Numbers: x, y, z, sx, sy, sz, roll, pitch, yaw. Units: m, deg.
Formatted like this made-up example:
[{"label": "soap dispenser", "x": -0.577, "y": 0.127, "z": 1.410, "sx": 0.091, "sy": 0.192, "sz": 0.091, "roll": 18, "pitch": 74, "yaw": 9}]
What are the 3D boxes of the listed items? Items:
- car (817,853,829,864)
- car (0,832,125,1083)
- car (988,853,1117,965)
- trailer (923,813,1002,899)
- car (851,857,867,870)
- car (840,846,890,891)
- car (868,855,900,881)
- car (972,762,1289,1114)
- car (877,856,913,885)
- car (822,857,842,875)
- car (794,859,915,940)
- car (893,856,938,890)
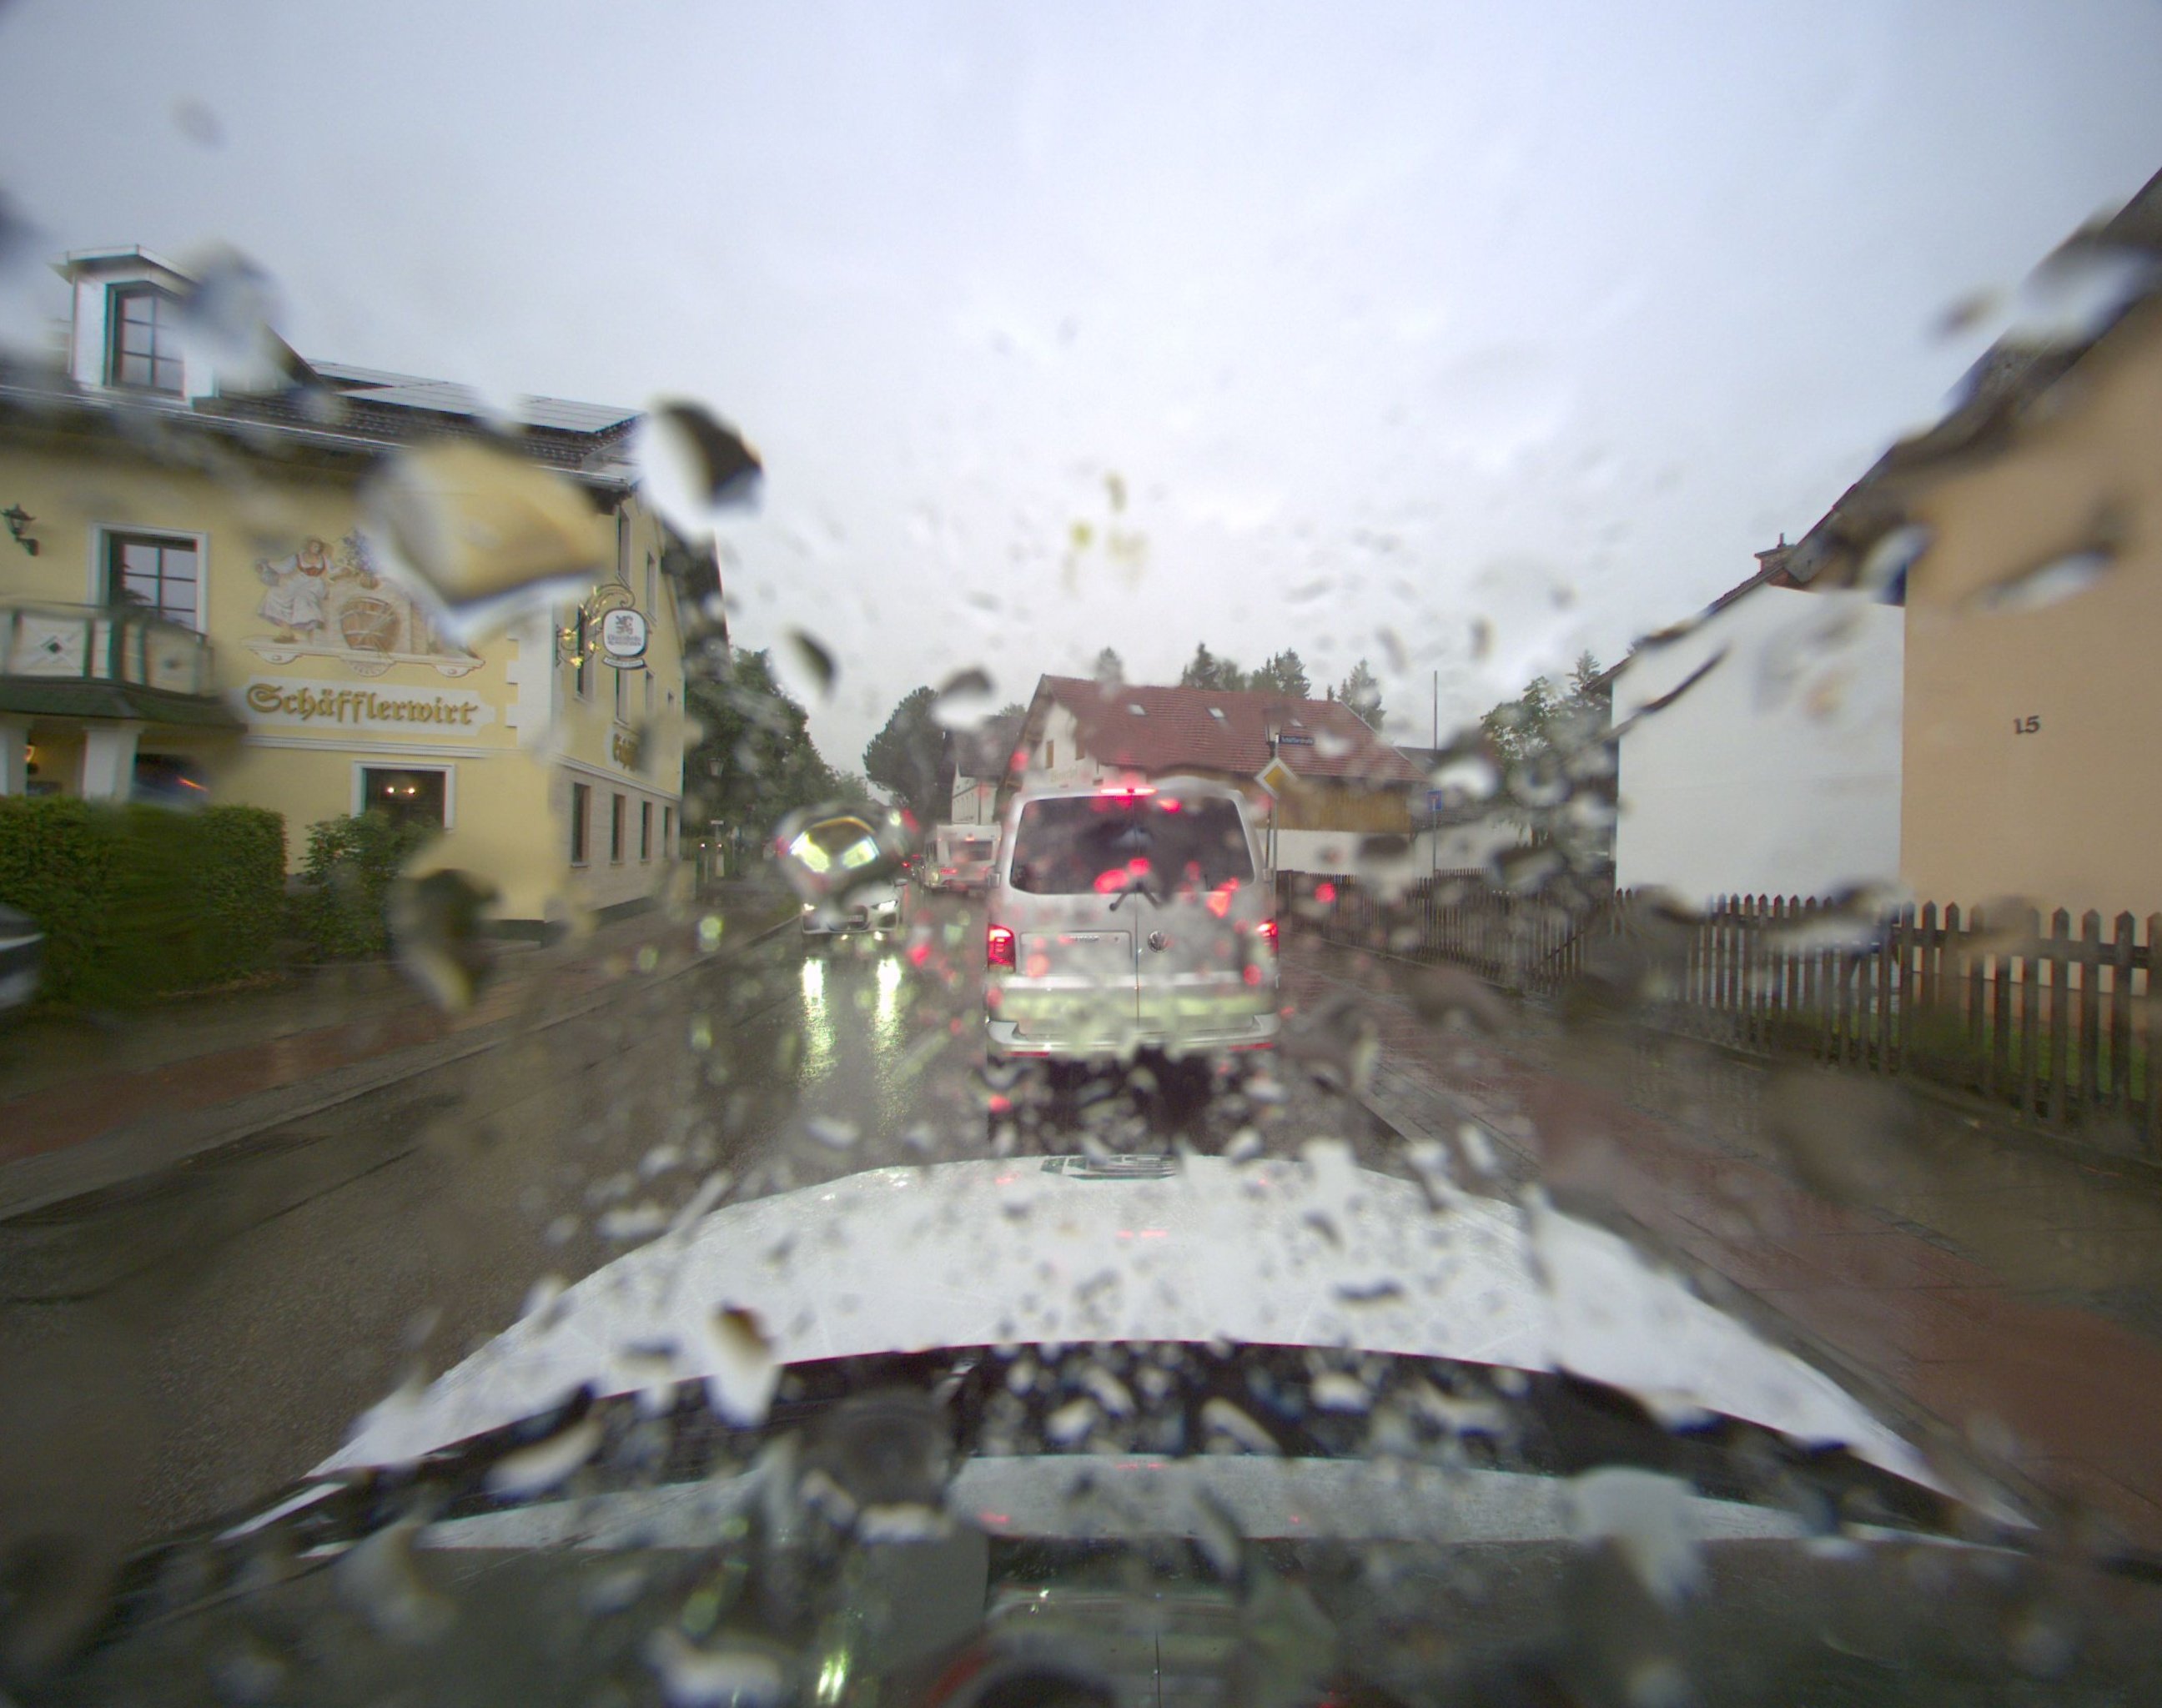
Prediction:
[{"label": "car", "x": -45.041, "y": 0.770, "z": 142.049, "sx": 1.867, "sy": 1.758, "sz": 4.457, "roll": -3, "pitch": 1, "yaw": -17}, {"label": "car", "x": -9.014, "y": 0.561, "z": 4.467, "sx": 4.490, "sy": 1.567, "sz": 1.827, "roll": 4, "pitch": 1, "yaw": -20}, {"label": "car", "x": -0.688, "y": 0.816, "z": 14.593, "sx": 1.708, "sy": 1.584, "sz": 4.671, "roll": -2, "pitch": 1, "yaw": -9}, {"label": "trailer", "x": -4.574, "y": 0.074, "z": 30.541, "sx": 2.275, "sy": 2.904, "sz": 6.100, "roll": 0, "pitch": 0, "yaw": -15}, {"label": "car", "x": -34.824, "y": 1.517, "z": 127.824, "sx": 2.174, "sy": 1.899, "sz": 4.985, "roll": 1, "pitch": 0, "yaw": -17}, {"label": "car", "x": -9.405, "y": 0.594, "z": 35.363, "sx": 1.866, "sy": 1.758, "sz": 4.458, "roll": -3, "pitch": 1, "yaw": -16}, {"label": "car", "x": -16.226, "y": 1.110, "z": 66.954, "sx": 2.174, "sy": 1.899, "sz": 4.985, "roll": 1, "pitch": 0, "yaw": -17}, {"label": "car", "x": 0.233, "y": 0.481, "z": 7.143, "sx": 1.771, "sy": 1.963, "sz": 5.071, "roll": -1, "pitch": 0, "yaw": -1}, {"label": "car", "x": -13.504, "y": 1.160, "z": 58.917, "sx": 2.174, "sy": 1.899, "sz": 4.985, "roll": 1, "pitch": 0, "yaw": -17}, {"label": "car", "x": -26.086, "y": 1.205, "z": 85.174, "sx": 1.867, "sy": 1.758, "sz": 4.457, "roll": -3, "pitch": 1, "yaw": -17}, {"label": "car", "x": -4.506, "y": 0.831, "z": 16.847, "sx": 1.861, "sy": 1.359, "sz": 4.469, "roll": -1, "pitch": 0, "yaw": -9}, {"label": "car", "x": -10.401, "y": 1.132, "z": 50.906, "sx": 2.174, "sy": 1.899, "sz": 4.985, "roll": 1, "pitch": 0, "yaw": -17}]
